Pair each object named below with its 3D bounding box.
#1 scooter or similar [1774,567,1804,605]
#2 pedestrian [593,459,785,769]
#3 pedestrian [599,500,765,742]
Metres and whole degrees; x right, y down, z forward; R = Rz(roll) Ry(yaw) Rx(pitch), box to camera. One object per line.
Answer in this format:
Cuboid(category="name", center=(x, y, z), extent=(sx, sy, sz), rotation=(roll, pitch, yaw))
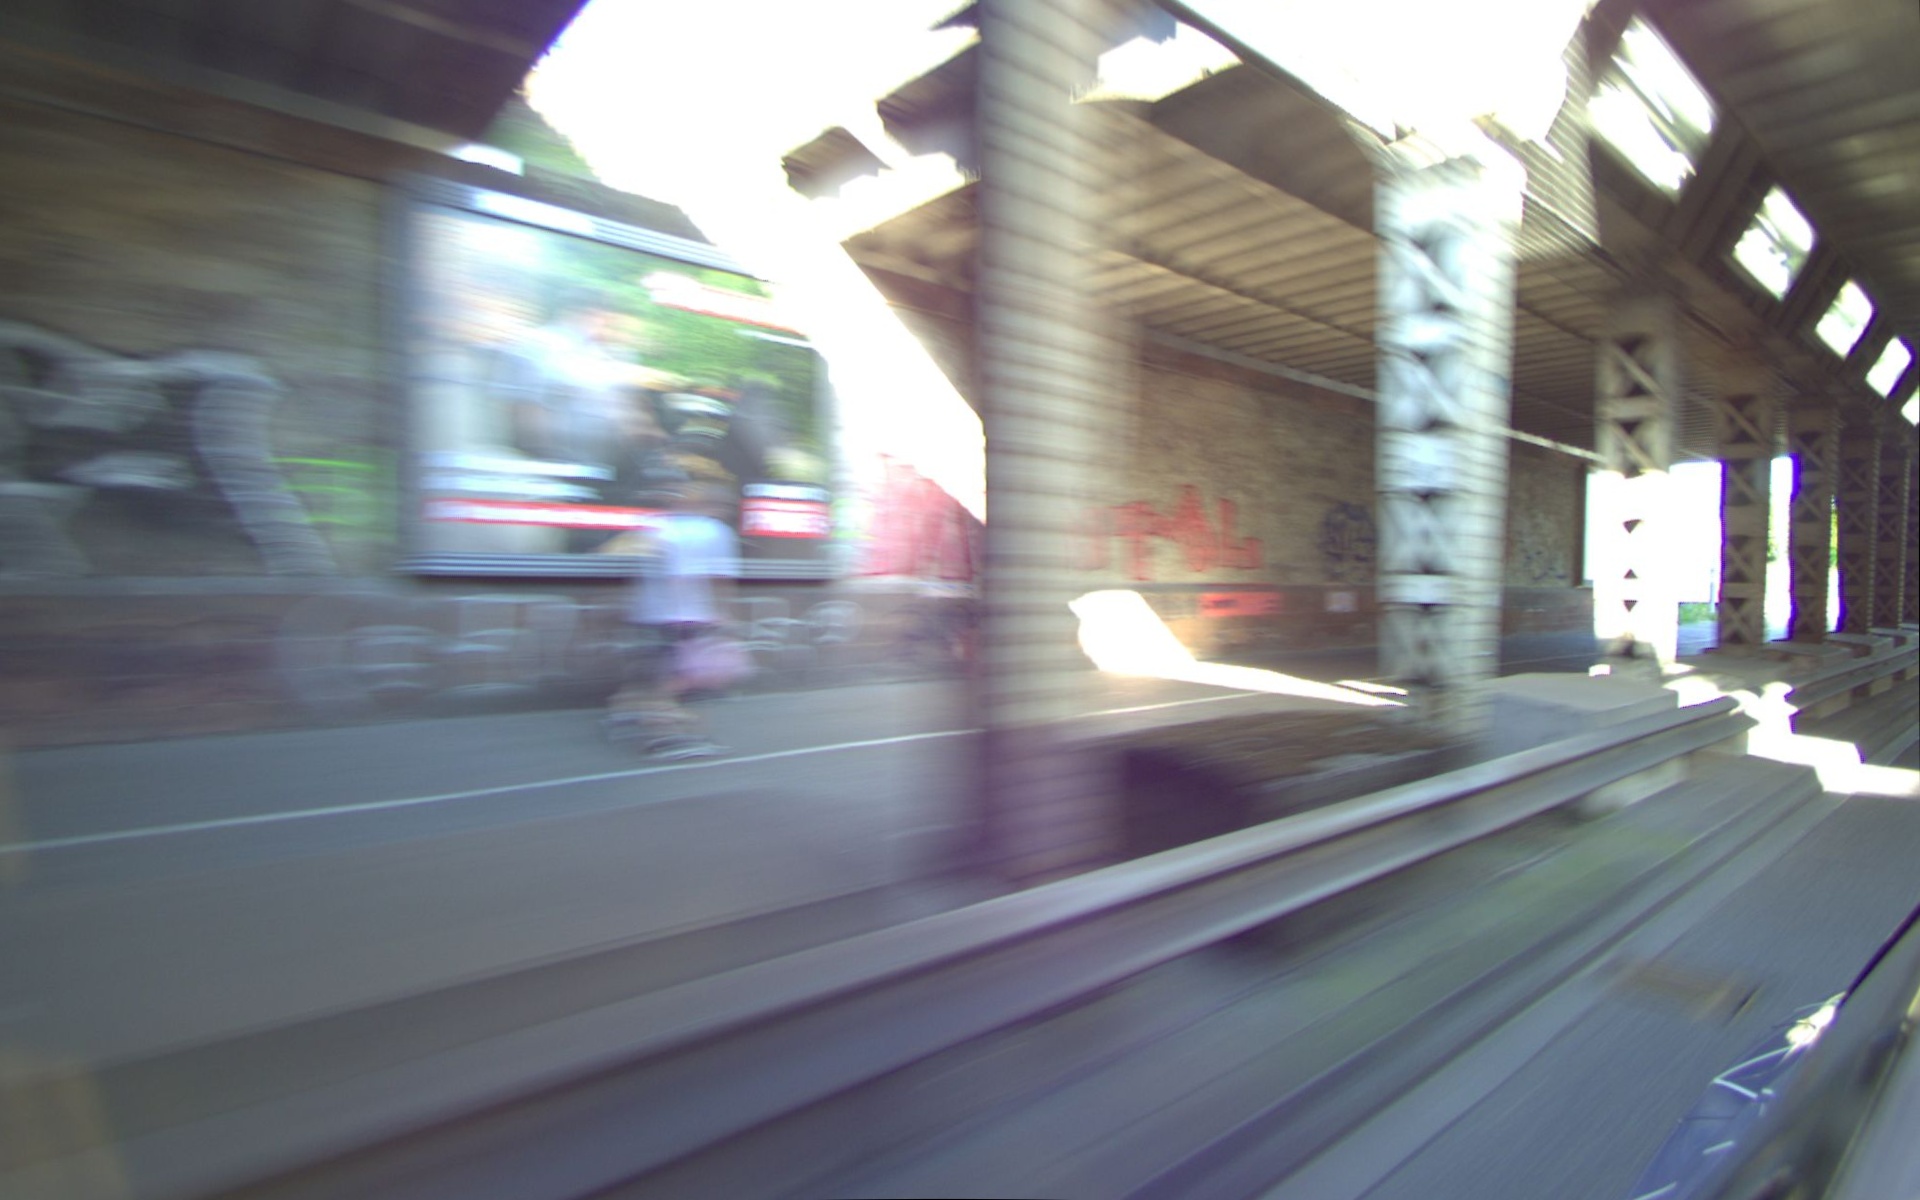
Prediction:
Cuboid(category="scooter or similar", center=(27.234, -0.474, 33.251), extent=(1.268, 1.212, 0.538), rotation=(-2, 1, -41))
Cuboid(category="pedestrian", center=(-1.795, 0.061, 6.693), extent=(0.907, 1.857, 0.881), rotation=(-1, 3, -44))
Cuboid(category="pedestrian", center=(-2.098, 0.119, 7.629), extent=(0.872, 1.676, 0.917), rotation=(-1, 3, -44))
